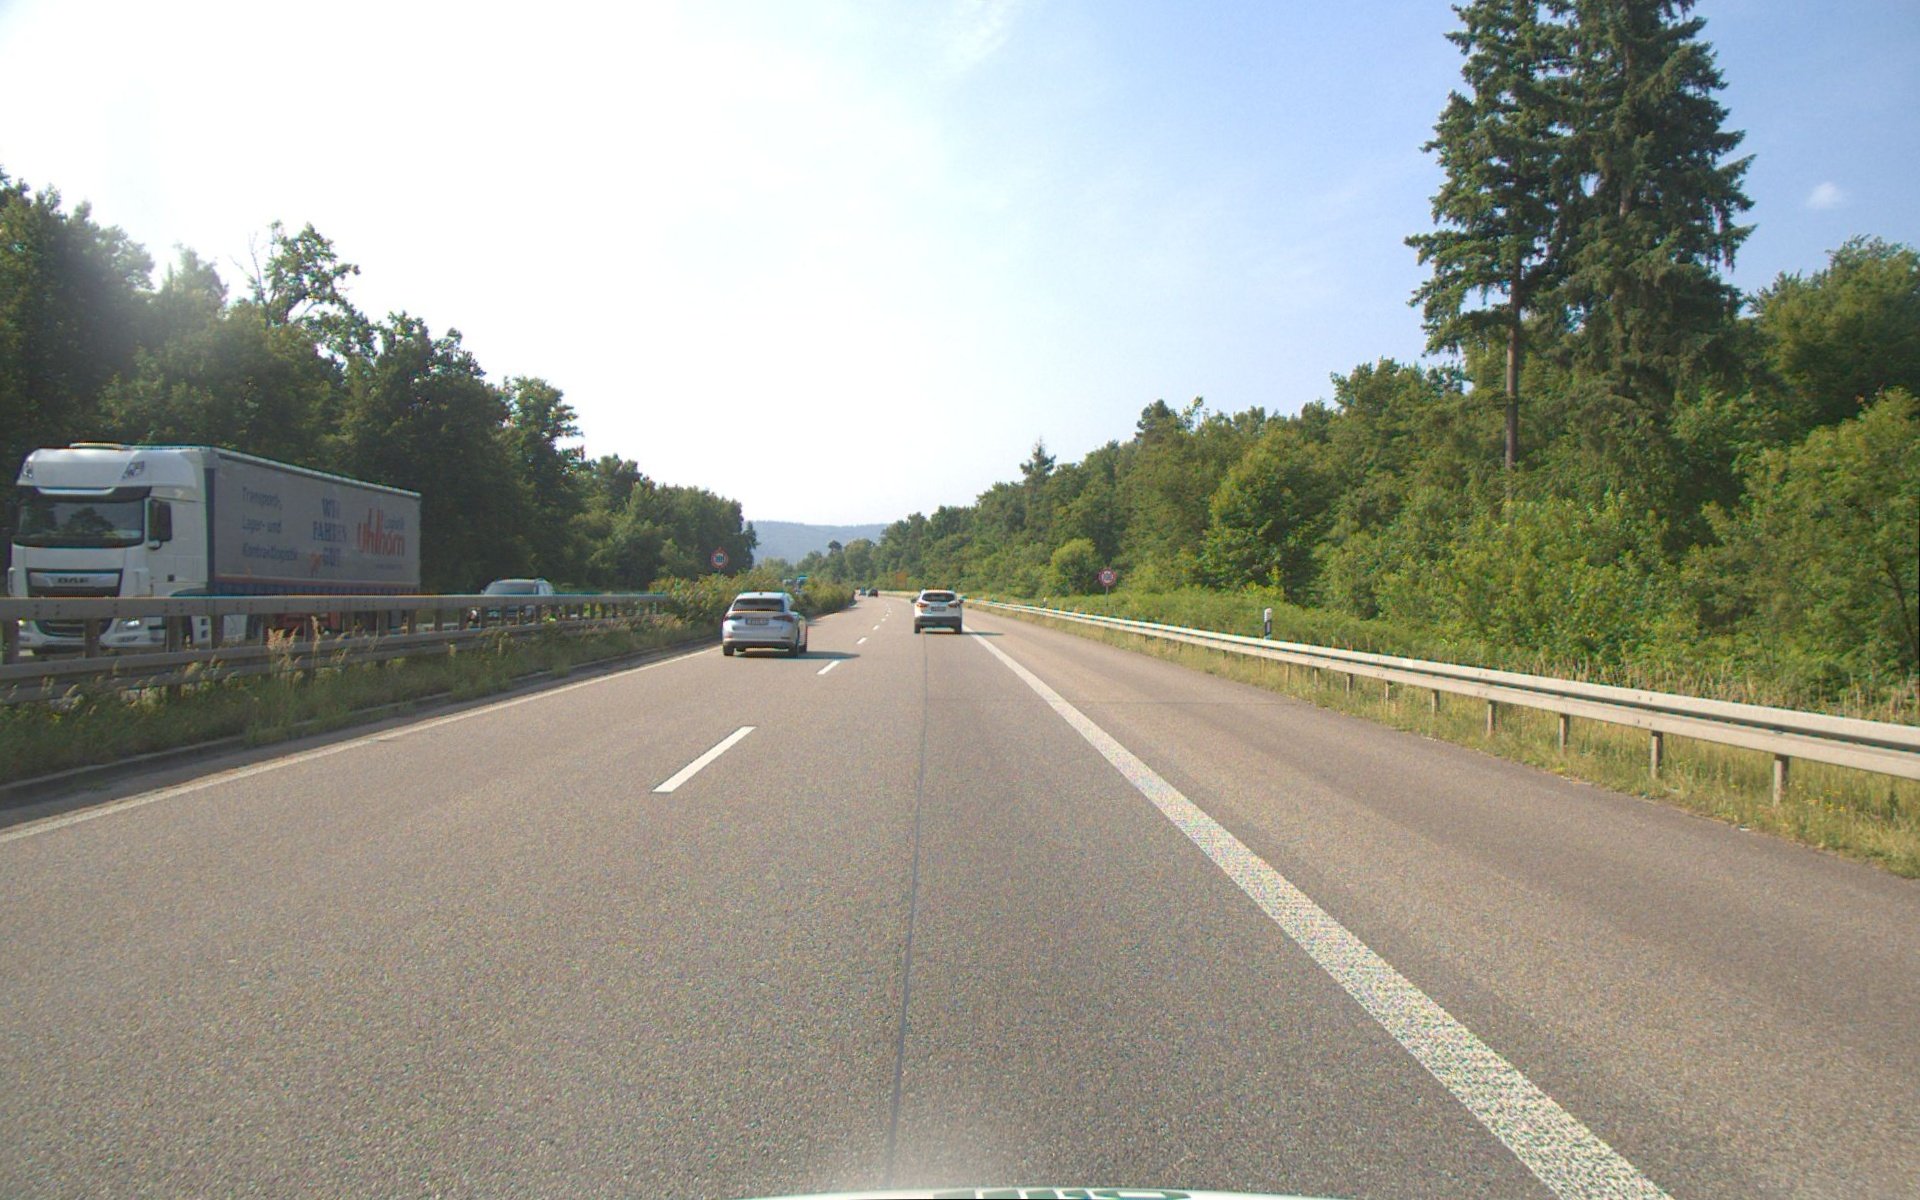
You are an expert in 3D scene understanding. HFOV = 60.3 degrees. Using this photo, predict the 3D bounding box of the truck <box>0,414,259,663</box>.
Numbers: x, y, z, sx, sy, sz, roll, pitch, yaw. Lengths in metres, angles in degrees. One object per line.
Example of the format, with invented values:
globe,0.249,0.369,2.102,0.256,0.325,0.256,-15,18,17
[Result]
truck,-15.697,-1.072,31.103,2.780,4.269,5.544,0,0,-2

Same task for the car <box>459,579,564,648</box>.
car,-11.706,0.330,43.416,1.652,1.718,4.167,1,0,-1

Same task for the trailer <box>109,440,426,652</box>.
trailer,-16.039,-1.128,39.740,2.775,4.282,12.407,0,0,-2

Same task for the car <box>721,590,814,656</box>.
car,-4.555,0.503,39.761,1.756,1.463,5.277,0,0,-2

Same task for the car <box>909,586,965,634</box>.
car,-0.890,0.350,61.850,1.836,1.614,3.998,3,1,-3
